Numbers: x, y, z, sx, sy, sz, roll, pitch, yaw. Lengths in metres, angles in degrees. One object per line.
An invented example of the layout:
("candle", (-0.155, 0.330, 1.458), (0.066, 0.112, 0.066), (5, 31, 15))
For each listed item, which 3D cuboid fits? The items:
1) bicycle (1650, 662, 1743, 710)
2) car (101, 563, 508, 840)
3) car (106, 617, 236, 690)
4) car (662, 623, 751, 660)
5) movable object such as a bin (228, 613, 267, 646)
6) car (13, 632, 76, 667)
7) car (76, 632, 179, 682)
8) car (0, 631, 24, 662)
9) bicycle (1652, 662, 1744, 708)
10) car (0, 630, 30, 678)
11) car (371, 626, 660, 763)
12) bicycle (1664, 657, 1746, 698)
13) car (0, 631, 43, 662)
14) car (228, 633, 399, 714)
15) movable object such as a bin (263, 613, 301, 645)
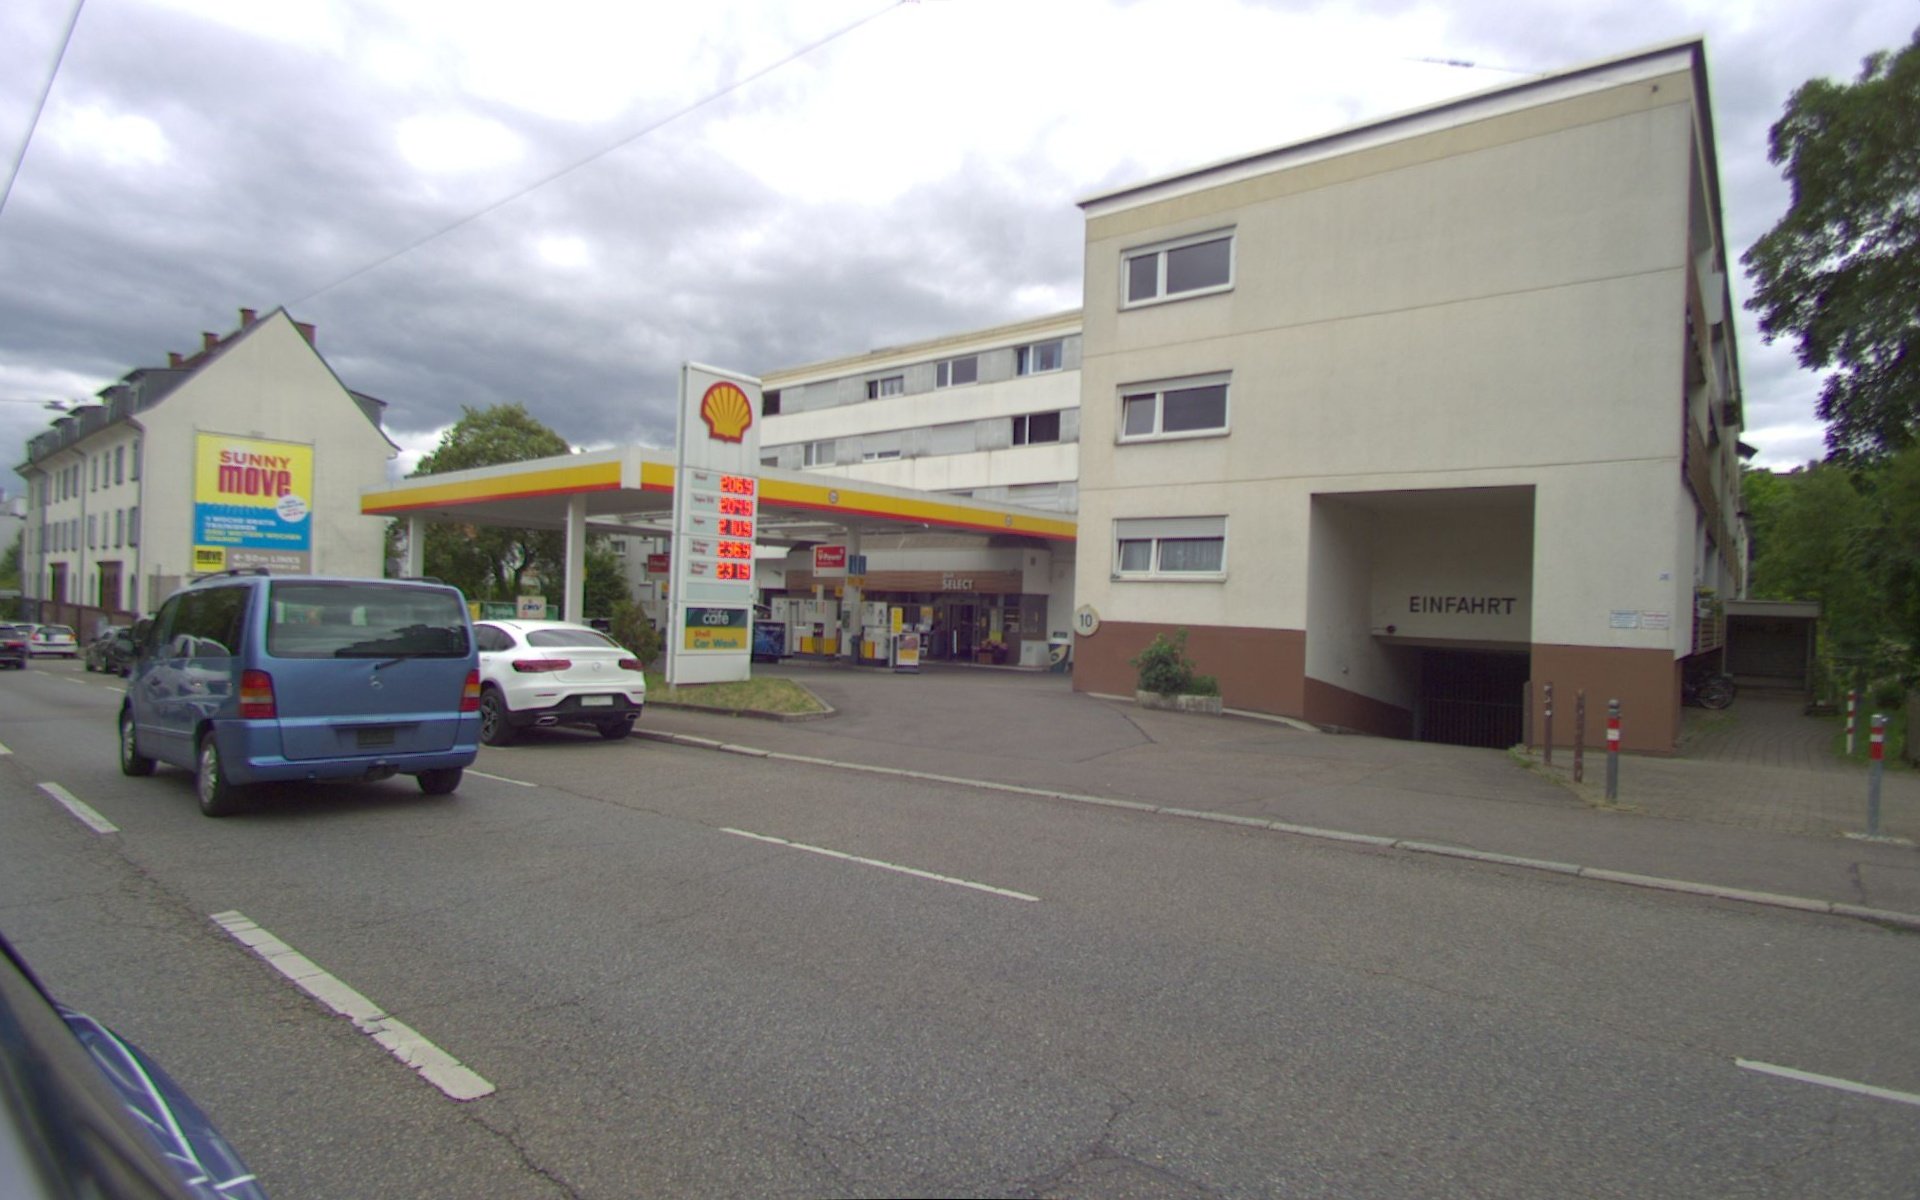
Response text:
("bicycle", (19.446, 2.254, 26.757), (1.934, 1.145, 0.452), (-1, -2, 42))
("car", (-6.151, 0.782, 9.263), (4.587, 1.915, 1.911), (-2, -3, 41))
("car", (-21.852, 1.441, 27.964), (4.697, 1.849, 1.833), (-2, -3, 40))
("car", (-10.293, 1.651, 40.996), (3.634, 1.431, 1.779), (-2, -2, 41))
("movable object such as a bin", (-34.125, 1.413, 48.472), (1.104, 1.550, 1.251), (-2, -4, 41))
("car", (-39.479, 2.115, 43.626), (3.663, 1.436, 1.602), (-2, -3, 42))
("car", (-26.046, 1.759, 31.620), (4.216, 1.461, 1.772), (-2, -4, 41))
("car", (-50.592, 2.396, 53.075), (4.079, 1.570, 1.709), (-1, -5, 41))
("bicycle", (19.754, 2.259, 27.120), (1.934, 1.145, 0.452), (-1, -2, 42))
("car", (-31.269, 1.701, 32.365), (4.497, 1.477, 1.759), (-2, -3, 42))
("car", (-6.294, 1.172, 14.054), (4.698, 1.589, 1.895), (-2, -3, 42))
("bicycle", (22.402, 2.312, 30.452), (1.934, 1.145, 0.452), (-1, -2, 42))
("car", (-46.587, 2.284, 49.946), (3.602, 1.486, 1.531), (-2, -3, 41))
("car", (-13.110, 1.405, 20.383), (4.744, 1.442, 1.778), (-2, -4, 43))
("movable object such as a bin", (-33.182, 1.431, 49.509), (1.104, 1.550, 1.251), (-2, -4, 41))
